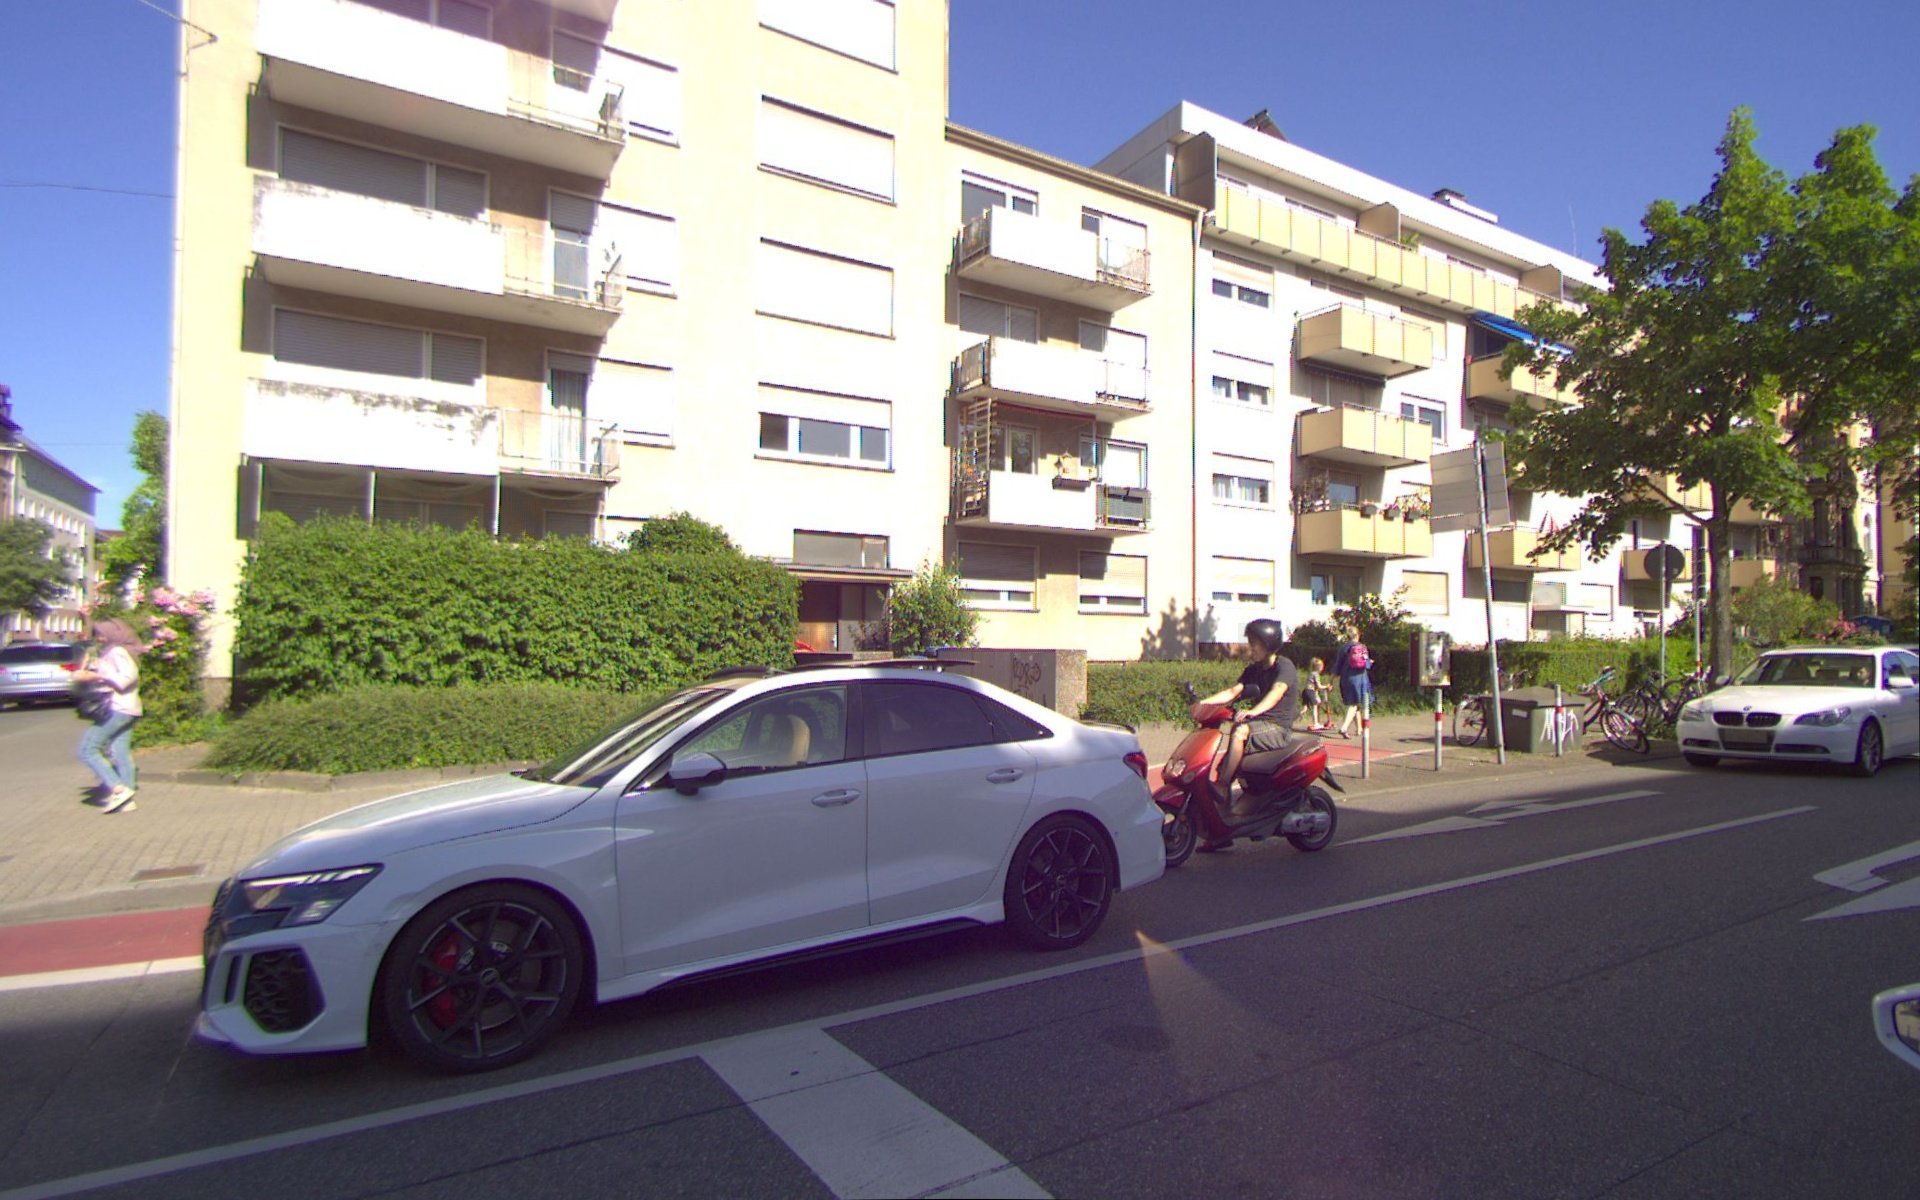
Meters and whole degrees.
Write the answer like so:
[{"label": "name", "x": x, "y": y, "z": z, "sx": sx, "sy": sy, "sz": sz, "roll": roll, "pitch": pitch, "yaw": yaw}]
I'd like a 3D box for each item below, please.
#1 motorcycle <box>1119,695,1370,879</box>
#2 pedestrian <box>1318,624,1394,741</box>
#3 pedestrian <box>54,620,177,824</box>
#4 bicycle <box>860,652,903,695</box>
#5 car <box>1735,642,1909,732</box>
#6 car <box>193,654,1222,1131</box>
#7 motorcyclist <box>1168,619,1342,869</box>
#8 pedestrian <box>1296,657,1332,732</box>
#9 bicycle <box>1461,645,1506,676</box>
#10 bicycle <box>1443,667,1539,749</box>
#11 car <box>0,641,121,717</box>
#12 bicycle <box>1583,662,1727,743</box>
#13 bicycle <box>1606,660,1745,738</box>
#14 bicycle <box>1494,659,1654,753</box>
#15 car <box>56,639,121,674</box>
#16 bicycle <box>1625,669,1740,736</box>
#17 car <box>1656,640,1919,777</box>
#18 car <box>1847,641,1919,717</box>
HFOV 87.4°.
[{"label": "motorcycle", "x": 2.064, "y": 1.276, "z": 7.190, "sx": 1.908, "sy": 1.136, "sz": 0.446, "roll": 1, "pitch": -5, "yaw": -28}, {"label": "pedestrian", "x": 6.013, "y": 1.217, "z": 15.243, "sx": 0.919, "sy": 1.709, "sz": 0.666, "roll": 1, "pitch": -1, "yaw": -32}, {"label": "pedestrian", "x": -7.352, "y": 1.026, "z": 8.778, "sx": 0.674, "sy": 1.680, "sz": 0.654, "roll": 1, "pitch": -2, "yaw": -30}, {"label": "bicycle", "x": -1.588, "y": 1.471, "z": 20.247, "sx": 0.849, "sy": 0.829, "sz": 0.309, "roll": -1, "pitch": -2, "yaw": 33}, {"label": "car", "x": 16.260, "y": 1.568, "z": 18.901, "sx": 3.855, "sy": 1.495, "sz": 1.495, "roll": 1, "pitch": -2, "yaw": -34}, {"label": "car", "x": -0.908, "y": 1.023, "z": 5.021, "sx": 4.457, "sy": 1.424, "sz": 1.689, "roll": 2, "pitch": -5, "yaw": -32}, {"label": "motorcyclist", "x": 2.124, "y": 1.000, "z": 7.281, "sx": 0.905, "sy": 1.668, "sz": 0.726, "roll": 1, "pitch": -4, "yaw": -26}, {"label": "pedestrian", "x": 5.707, "y": 1.513, "z": 16.201, "sx": 0.484, "sy": 1.176, "sz": 0.333, "roll": 1, "pitch": -1, "yaw": -32}, {"label": "bicycle", "x": 16.732, "y": 1.937, "z": 32.085, "sx": 1.636, "sy": 0.953, "sz": 0.478, "roll": 1, "pitch": -4, "yaw": -32}, {"label": "bicycle", "x": 7.646, "y": 1.523, "z": 14.438, "sx": 1.688, "sy": 1.093, "sz": 0.424, "roll": 1, "pitch": -3, "yaw": -33}, {"label": "car", "x": -20.414, "y": 1.705, "z": 22.607, "sx": 1.817, "sy": 1.528, "sz": 4.465, "roll": 2, "pitch": -3, "yaw": -33}, {"label": "bicycle", "x": 11.079, "y": 1.607, "z": 16.078, "sx": 0.554, "sy": 1.101, "sz": 1.817, "roll": 2, "pitch": 0, "yaw": -31}, {"label": "bicycle", "x": 11.824, "y": 1.607, "z": 16.656, "sx": 0.487, "sy": 1.101, "sz": 1.817, "roll": 2, "pitch": 0, "yaw": -31}, {"label": "bicycle", "x": 8.956, "y": 1.510, "z": 14.735, "sx": 0.514, "sy": 1.178, "sz": 1.954, "roll": 1, "pitch": -1, "yaw": -35}, {"label": "car", "x": -37.824, "y": 2.422, "z": 43.675, "sx": 1.678, "sy": 1.440, "sz": 3.804, "roll": 1, "pitch": -2, "yaw": -34}, {"label": "bicycle", "x": 12.235, "y": 1.714, "z": 17.049, "sx": 0.443, "sy": 0.978, "sz": 1.528, "roll": 2, "pitch": 0, "yaw": -31}, {"label": "car", "x": 11.136, "y": 1.293, "z": 12.889, "sx": 4.723, "sy": 1.483, "sz": 1.805, "roll": 2, "pitch": -5, "yaw": -31}, {"label": "car", "x": 20.845, "y": 1.662, "z": 21.750, "sx": 3.642, "sy": 1.509, "sz": 1.394, "roll": 1, "pitch": -1, "yaw": -30}]
